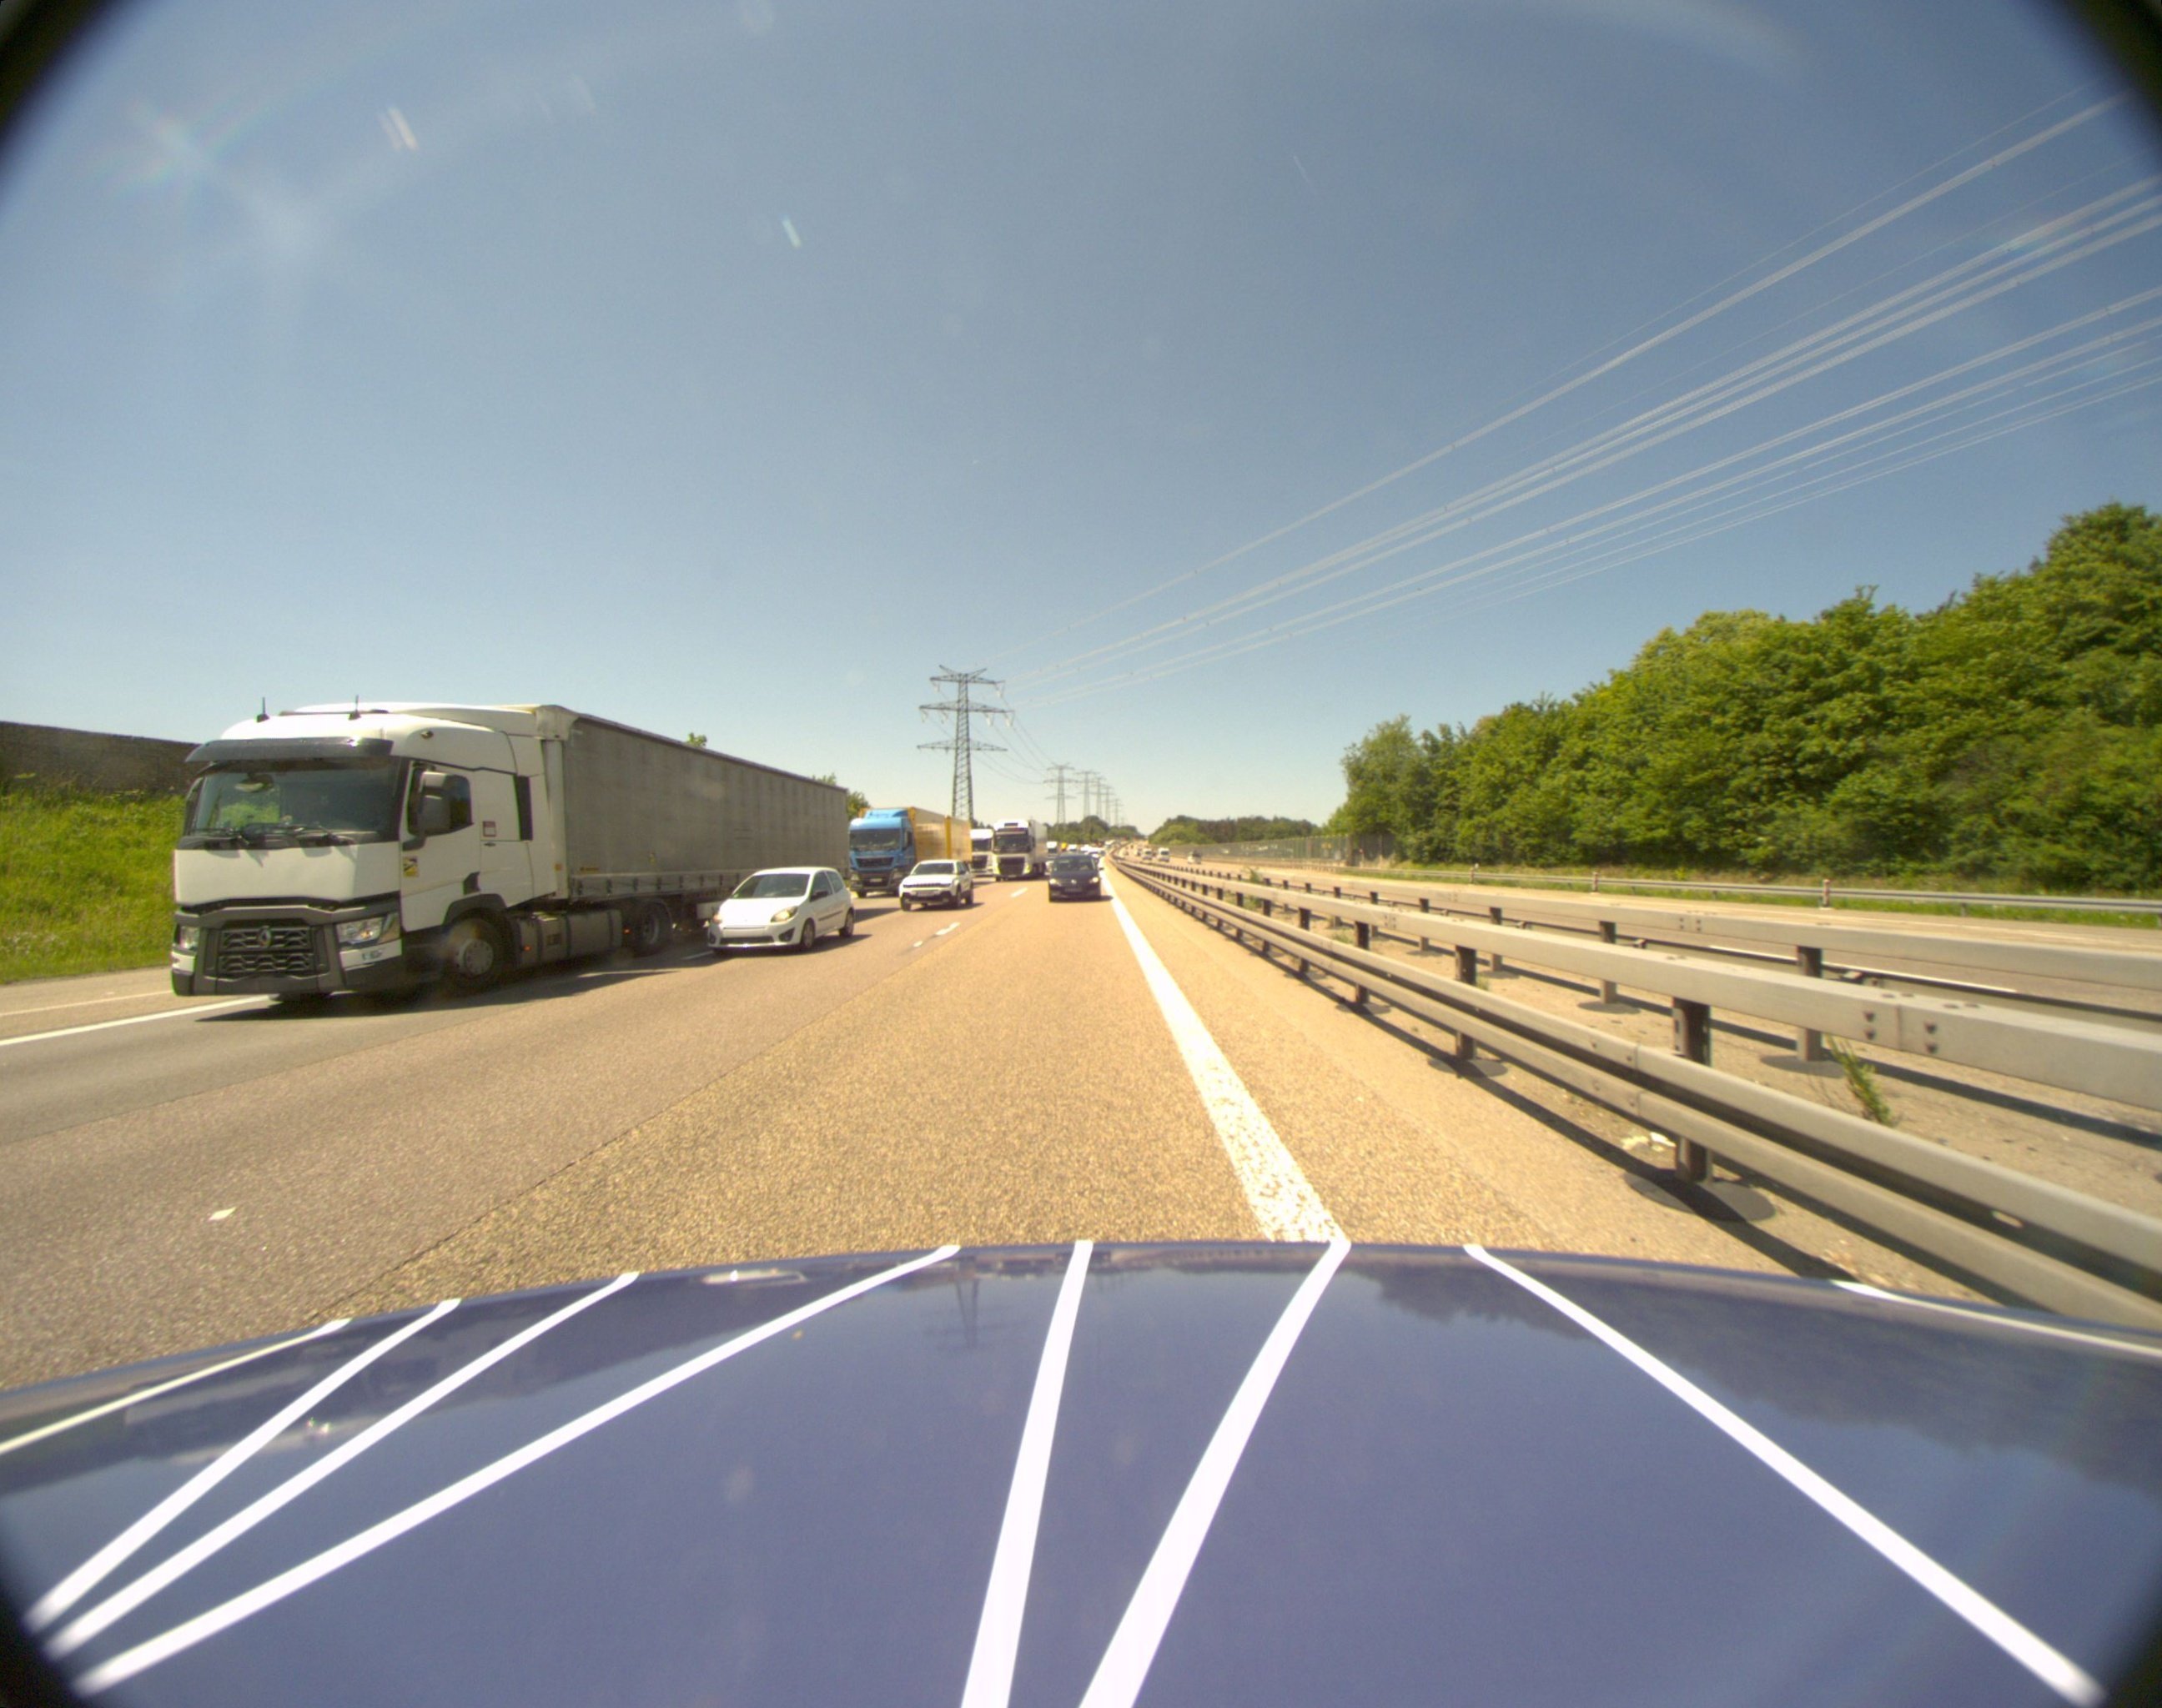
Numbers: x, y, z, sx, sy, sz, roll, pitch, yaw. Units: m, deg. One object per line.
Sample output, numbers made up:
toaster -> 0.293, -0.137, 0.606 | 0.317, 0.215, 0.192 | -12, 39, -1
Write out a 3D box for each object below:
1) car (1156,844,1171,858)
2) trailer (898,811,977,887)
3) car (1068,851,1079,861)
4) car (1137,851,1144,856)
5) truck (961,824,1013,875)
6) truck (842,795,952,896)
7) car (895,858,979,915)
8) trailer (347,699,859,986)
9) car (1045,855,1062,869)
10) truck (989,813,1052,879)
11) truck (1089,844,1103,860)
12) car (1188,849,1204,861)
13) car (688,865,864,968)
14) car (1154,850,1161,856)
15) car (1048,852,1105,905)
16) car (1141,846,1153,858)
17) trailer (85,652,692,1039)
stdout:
car -> 15.552, -0.518, 143.888 | 2.161, 2.579, 5.889 | 0, 1, 0
trailer -> -8.452, -0.250, 46.083 | 2.772, 4.093, 9.377 | -2, 0, 0
car -> -1.249, 0.372, 130.083 | 1.821, 1.569, 4.000 | -2, 1, 1
car -> 20.120, -0.154, 258.293 | 1.881, 1.438, 4.144 | -3, 1, 0
truck -> -7.867, -0.354, 65.214 | 2.695, 3.907, 11.297 | -2, 0, 1
truck -> -8.470, -0.317, 36.525 | 2.772, 4.085, 9.952 | -2, 0, 0
car -> -4.517, 0.969, 24.341 | 1.776, 1.521, 3.851 | -2, 1, 2
trailer -> -8.901, -0.149, 17.830 | 2.970, 4.025, 13.752 | -2, 0, 1
car -> -3.350, 0.974, 93.296 | 1.821, 1.569, 4.000 | -2, 1, 1
truck -> -4.053, -0.506, 54.760 | 2.717, 4.015, 14.257 | -2, 0, 2
truck -> 2.787, -0.327, 137.803 | 2.309, 2.789, 5.110 | -2, 1, 2
car -> 19.576, 0.097, 129.276 | 1.869, 1.894, 5.491 | 1, 1, -1
car -> -5.495, 1.046, 14.239 | 1.659, 1.502, 3.825 | -2, 1, 1
car -> 23.587, -0.266, 234.702 | 1.998, 1.567, 5.276 | -2, 1, 5
car -> -0.098, 0.789, 26.436 | 1.748, 1.569, 4.000 | -2, 1, 2
car -> 15.270, -0.575, 176.416 | 2.058, 2.636, 5.837 | 3, 1, -1
trailer -> -9.022, -0.080, 11.307 | 2.931, 4.020, 6.411 | -2, 0, 1
